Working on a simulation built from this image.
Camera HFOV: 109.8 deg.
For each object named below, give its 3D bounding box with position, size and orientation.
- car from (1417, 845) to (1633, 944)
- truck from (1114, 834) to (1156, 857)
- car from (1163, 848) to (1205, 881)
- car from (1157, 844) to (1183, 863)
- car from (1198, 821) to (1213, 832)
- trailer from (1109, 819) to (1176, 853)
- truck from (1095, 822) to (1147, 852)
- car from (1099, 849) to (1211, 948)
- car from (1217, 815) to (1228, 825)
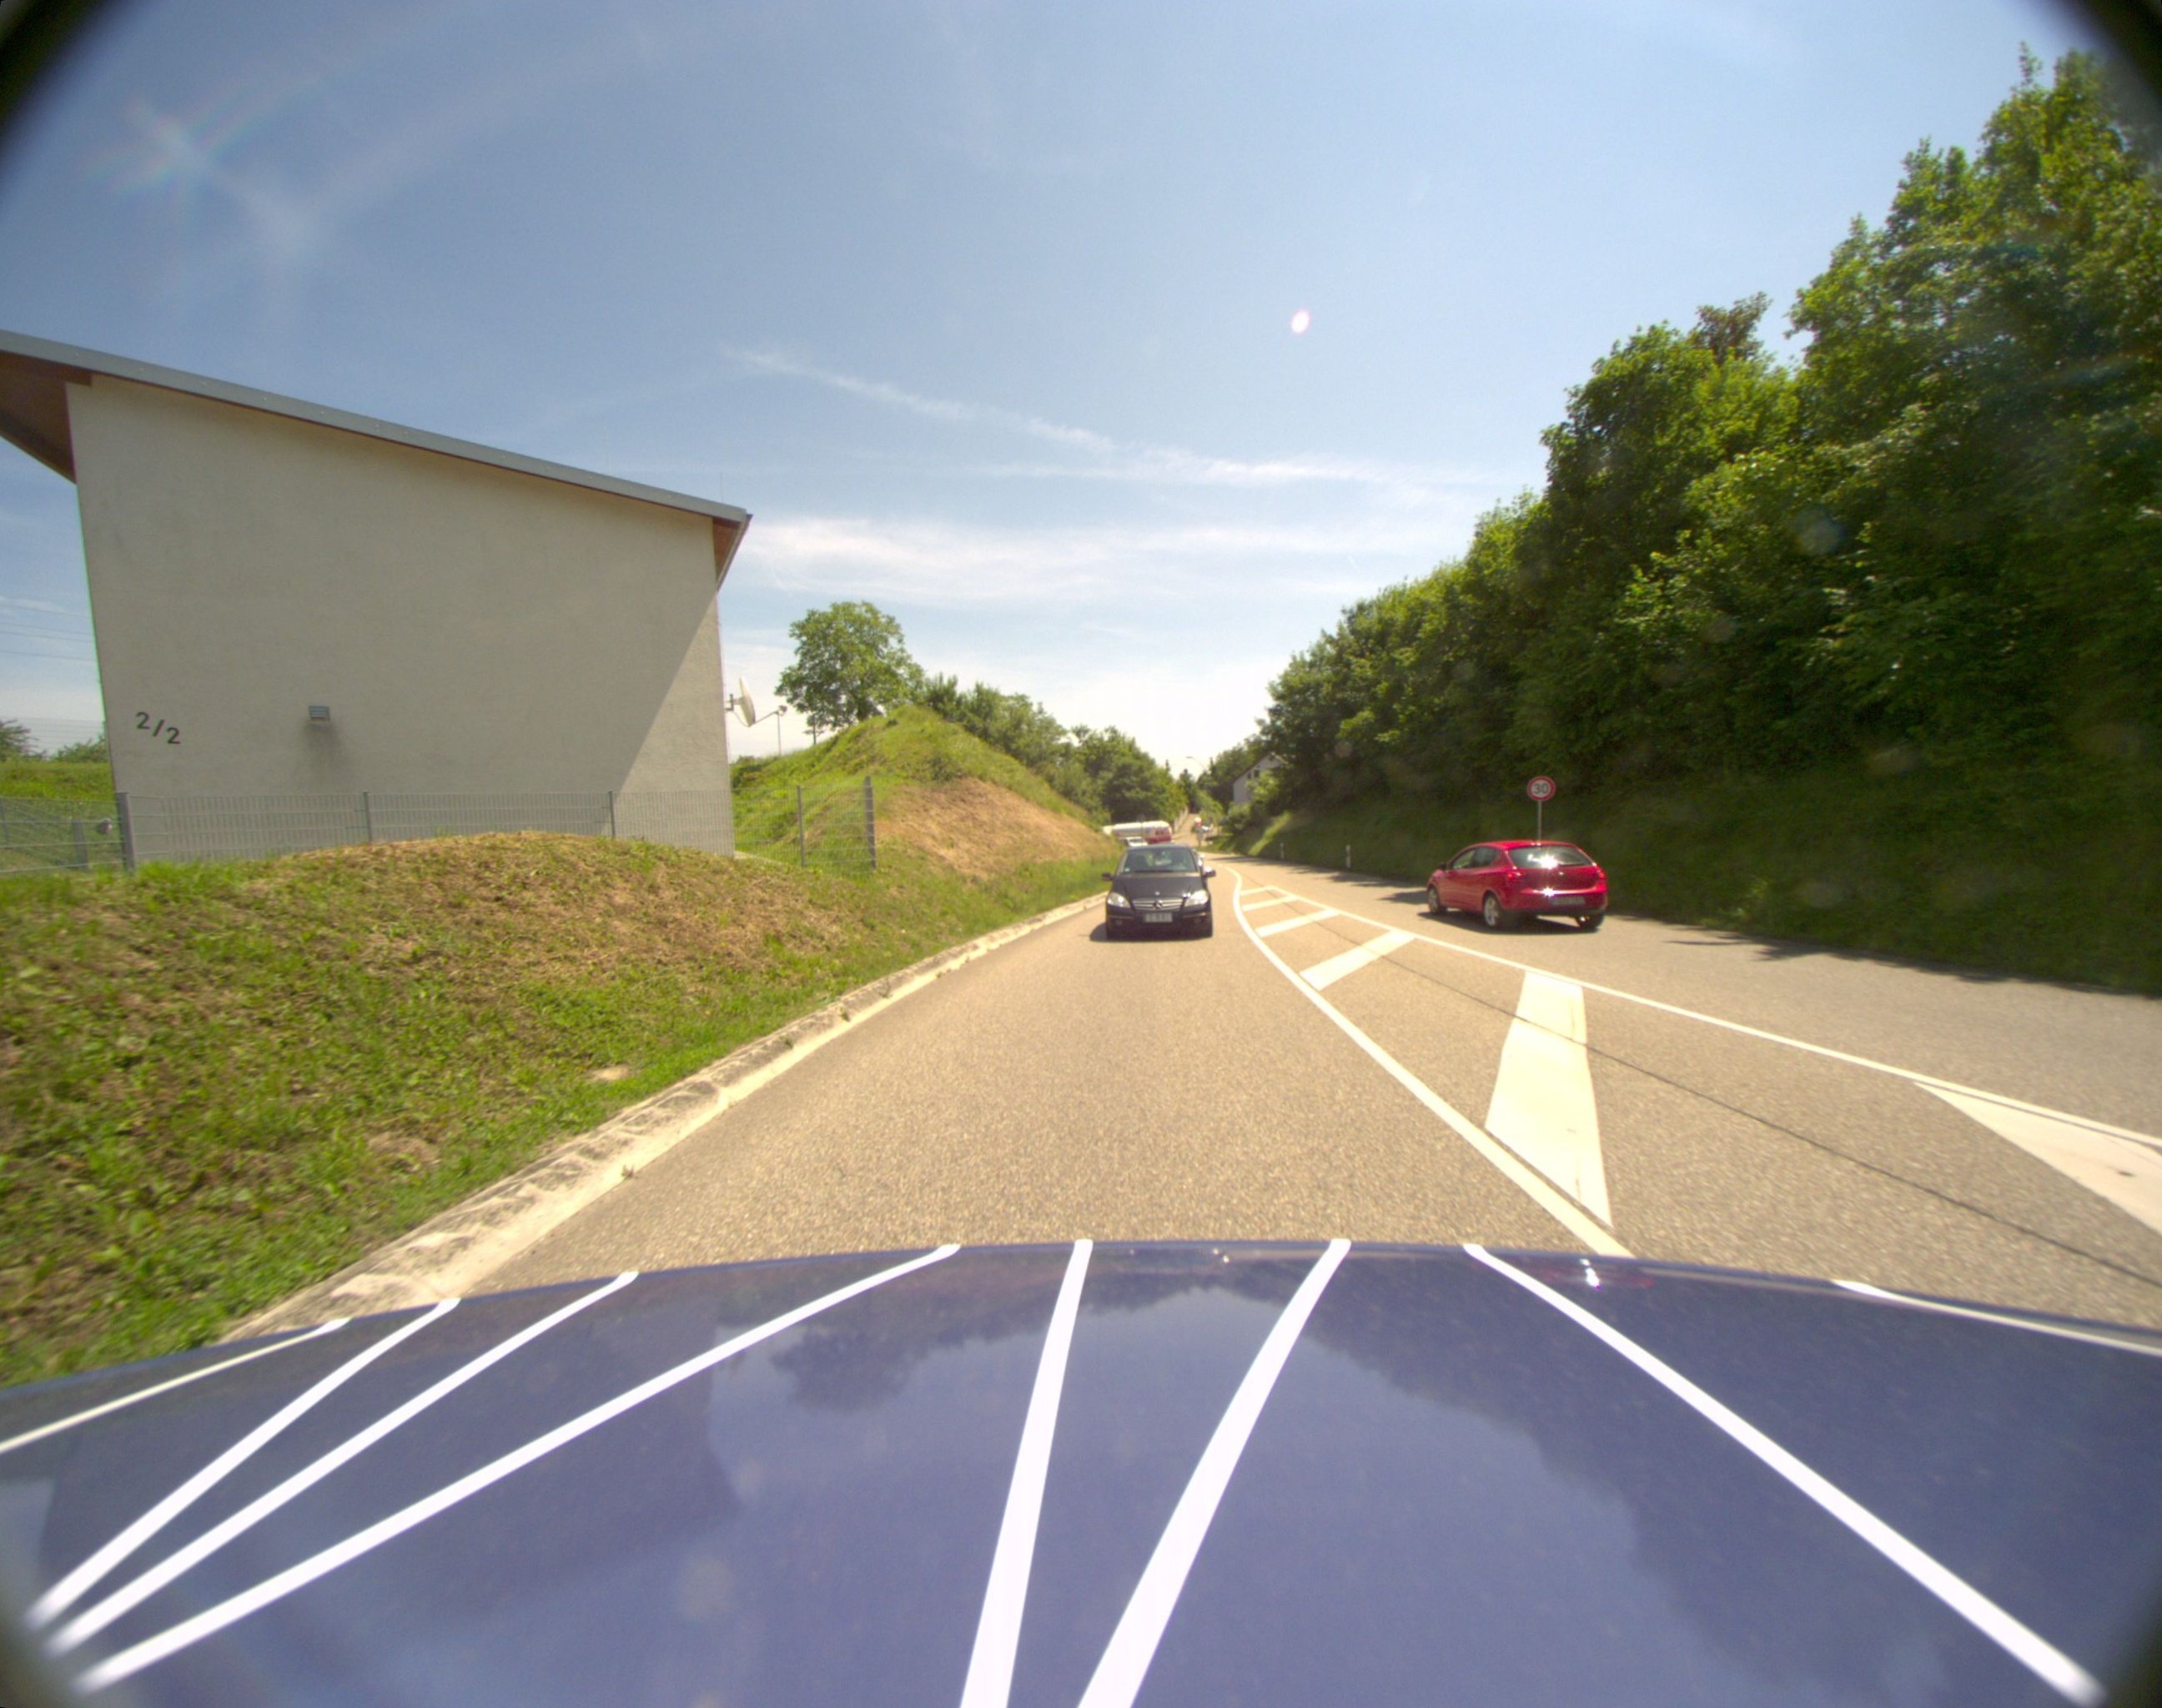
[{"bbox_3d":[7.578,0.592,13.476,1.753,1.440,4.001,-1,1,5],"label":"car"},{"bbox_3d":[5.179,-0.805,74.122,2.074,2.002,5.236,-4,1,-19],"label":"truck"},{"bbox_3d":[4.368,0.395,32.169,1.646,1.315,3.440,0,1,8],"label":"car"},{"bbox_3d":[7.087,-0.085,60.612,1.755,1.281,4.145,-3,2,3],"label":"car"},{"bbox_3d":[19.997,-4.430,121.796,1.997,1.499,4.000,-4,5,12],"label":"car"},{"bbox_3d":[6.553,-1.949,83.633,2.644,3.354,11.120,-4,2,-21],"label":"trailer"},{"bbox_3d":[4.584,-1.937,88.568,2.637,3.153,7.052,-4,2,-27],"label":"truck"},{"bbox_3d":[1.448,0.716,14.185,1.794,1.570,3.801,-1,1,8],"label":"car"},{"bbox_3d":[25.563,-6.184,137.550,1.748,1.382,3.999,-4,5,10],"label":"car"}]
